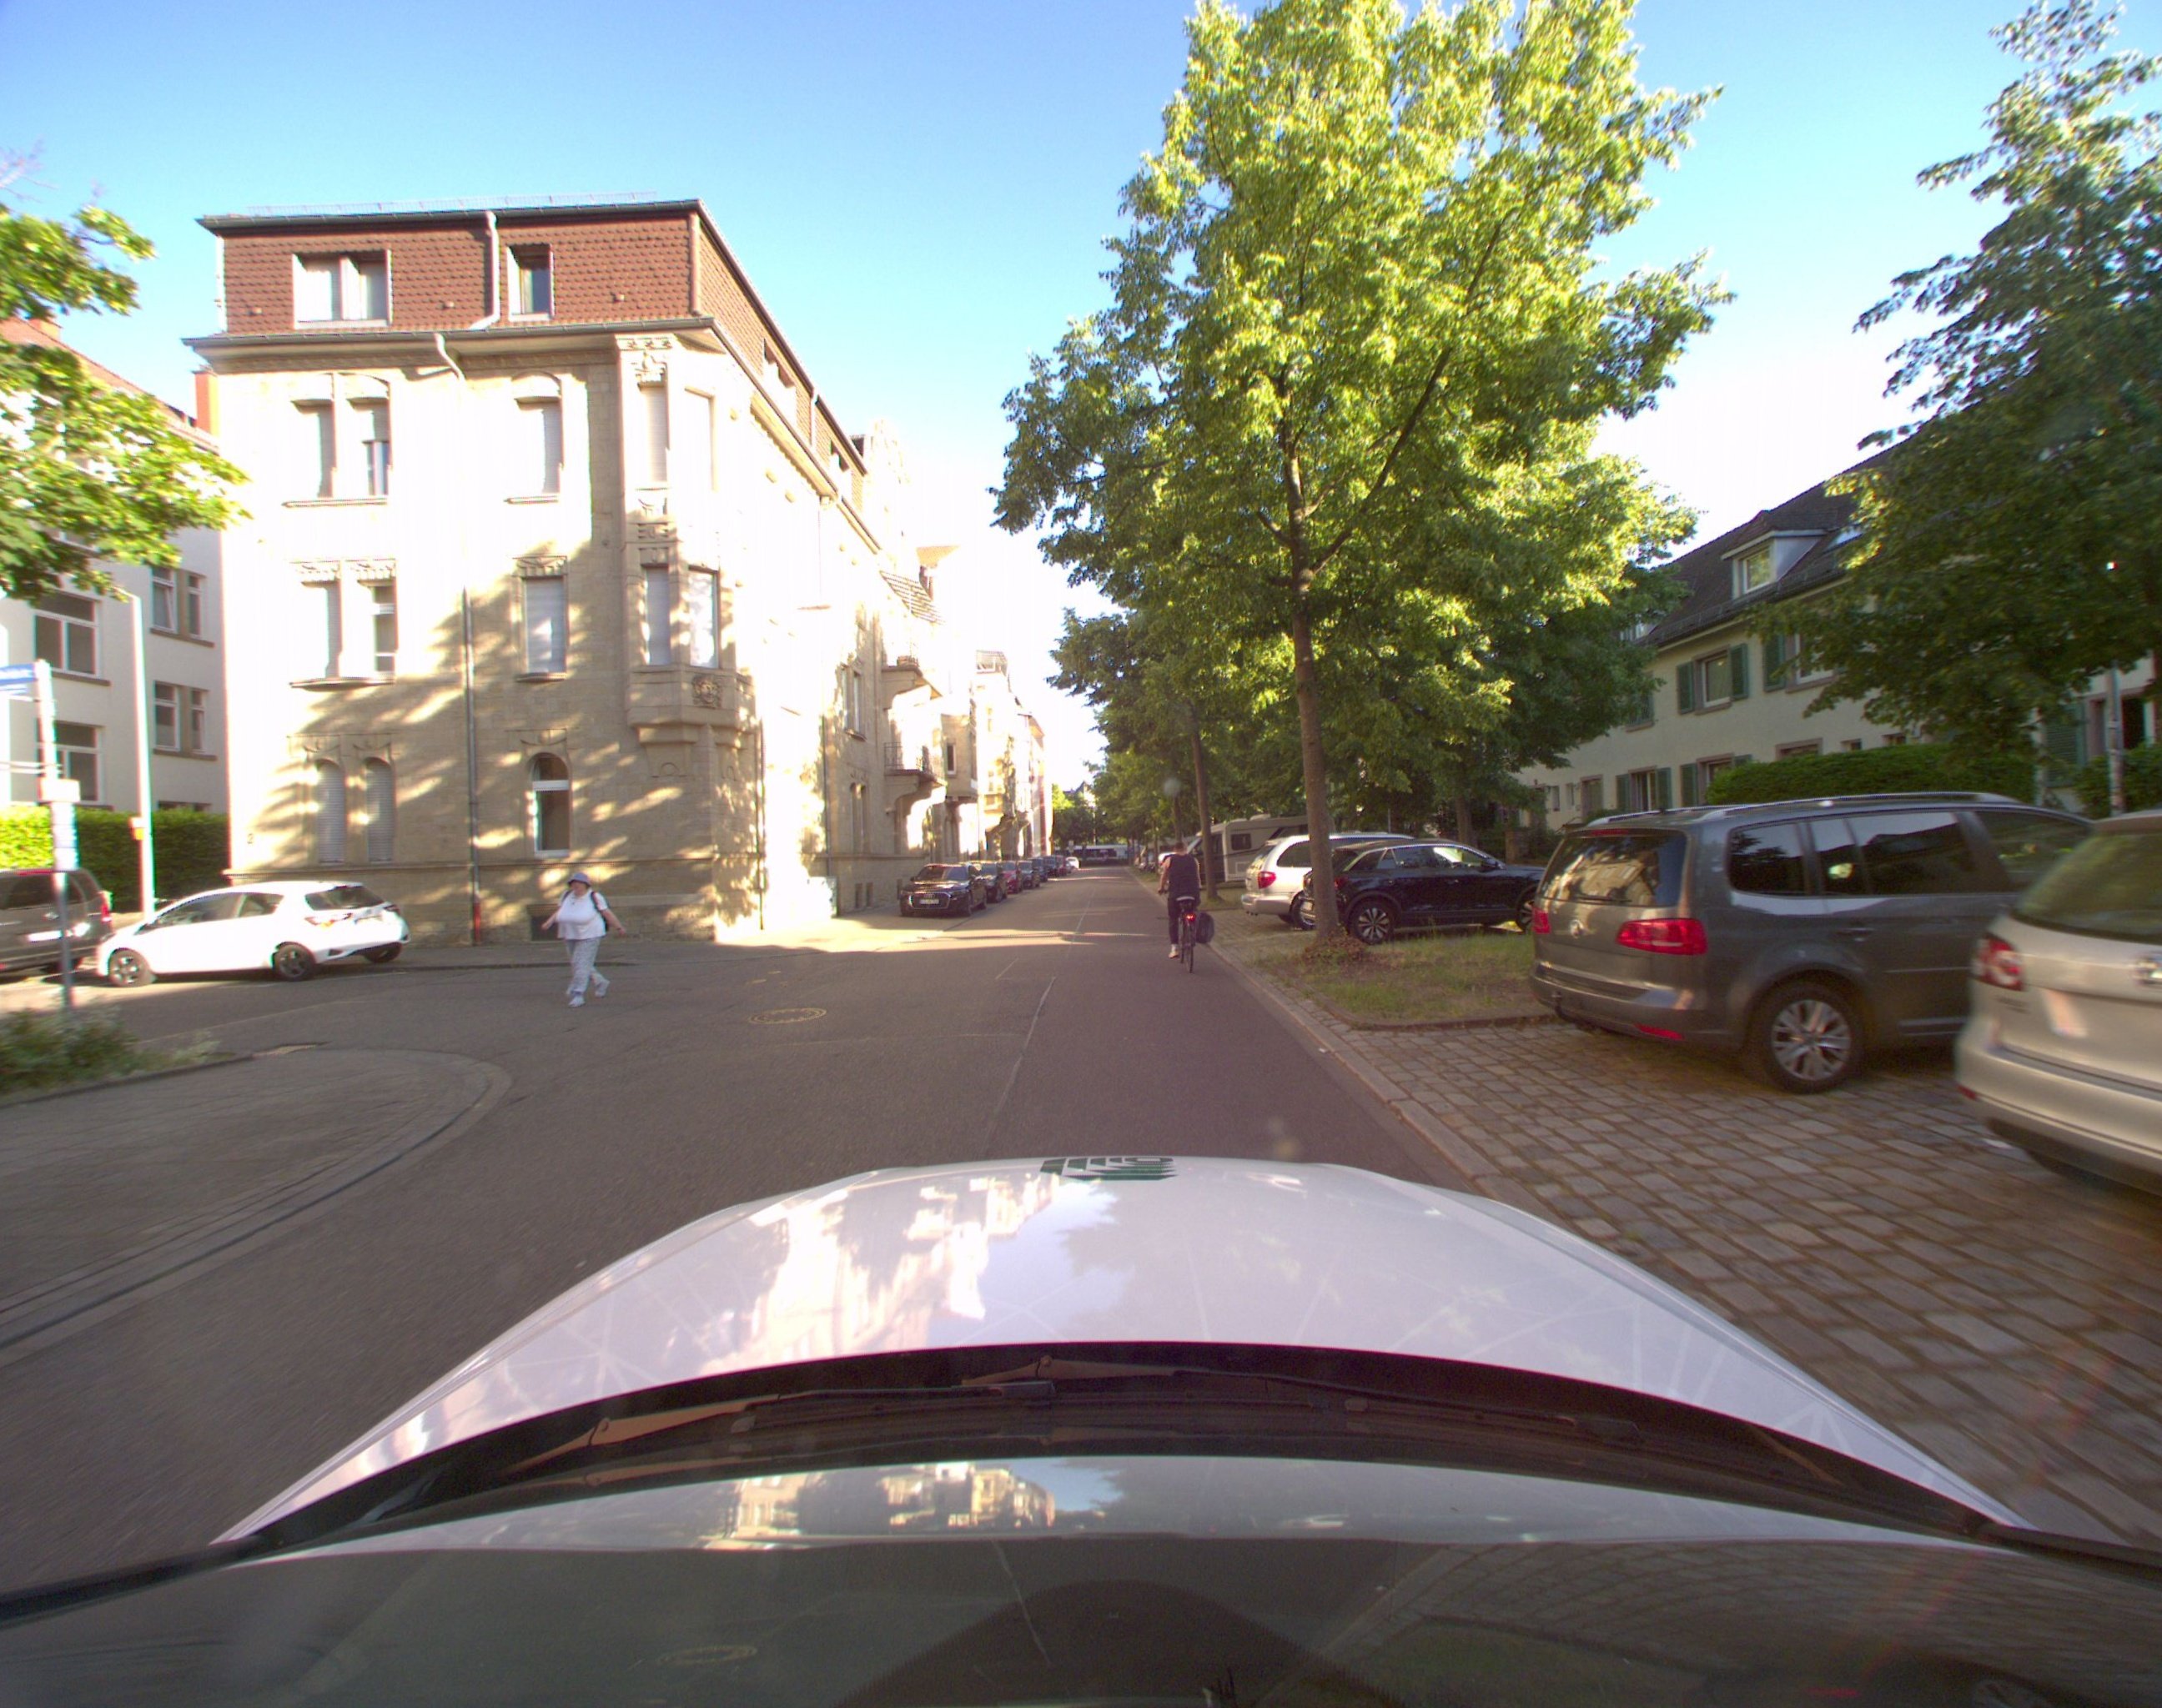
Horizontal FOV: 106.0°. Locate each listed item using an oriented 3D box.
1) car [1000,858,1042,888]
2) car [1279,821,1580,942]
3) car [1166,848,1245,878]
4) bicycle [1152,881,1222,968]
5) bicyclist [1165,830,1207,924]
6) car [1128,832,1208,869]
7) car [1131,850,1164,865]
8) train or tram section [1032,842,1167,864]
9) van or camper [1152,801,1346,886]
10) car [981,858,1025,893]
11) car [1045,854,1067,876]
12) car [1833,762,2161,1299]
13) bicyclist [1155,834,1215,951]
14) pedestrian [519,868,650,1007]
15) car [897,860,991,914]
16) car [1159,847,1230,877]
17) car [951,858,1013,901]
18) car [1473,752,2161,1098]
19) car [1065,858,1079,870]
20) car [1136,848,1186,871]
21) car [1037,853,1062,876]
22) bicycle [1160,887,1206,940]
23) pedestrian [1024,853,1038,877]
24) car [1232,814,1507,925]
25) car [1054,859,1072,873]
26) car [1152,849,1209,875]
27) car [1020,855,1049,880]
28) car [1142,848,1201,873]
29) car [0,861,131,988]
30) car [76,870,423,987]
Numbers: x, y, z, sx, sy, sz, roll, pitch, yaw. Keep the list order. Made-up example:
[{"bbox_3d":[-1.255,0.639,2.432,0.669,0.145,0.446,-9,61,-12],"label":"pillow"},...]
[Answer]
[{"bbox_3d":[-3.112,0.954,43.104,1.669,1.430,4.553,0,0,3],"label":"car"},{"bbox_3d":[5.460,0.411,13.150,4.052,1.476,1.695,-5,0,2],"label":"car"},{"bbox_3d":[6.744,0.501,44.445,4.022,1.454,1.689,-2,0,-2],"label":"car"},{"bbox_3d":[1.406,0.912,11.123,0.735,1.054,1.956,0,-1,1],"label":"bicycle"},{"bbox_3d":[1.884,0.406,14.714,0.686,1.626,1.000,0,0,5],"label":"bicyclist"},{"bbox_3d":[8.213,-0.321,77.306,7.126,2.978,2.463,-4,-1,-1],"label":"car"},{"bbox_3d":[8.111,0.478,99.547,3.975,1.803,1.833,-1,-1,-1],"label":"car"},{"bbox_3d":[3.454,-0.134,143.203,23.889,3.708,4.256,0,-1,-21],"label":"train or tram section"},{"bbox_3d":[6.520,-0.389,32.415,7.116,2.647,2.467,-5,0,3],"label":"van or camper"},{"bbox_3d":[-3.522,0.939,37.306,1.624,1.453,3.837,-1,0,0],"label":"car"},{"bbox_3d":[-2.190,0.960,72.200,1.682,1.825,4.275,0,0,3],"label":"car"},{"bbox_3d":[5.367,0.358,2.523,4.253,1.633,1.692,-5,0,5],"label":"car"},{"bbox_3d":[1.407,0.514,11.180,0.727,1.548,0.884,0,-1,1],"label":"bicyclist"},{"bbox_3d":[-6.191,1.000,10.218,0.884,1.577,1.054,-3,0,2],"label":"pedestrian"},{"bbox_3d":[-3.899,0.898,24.080,1.804,1.427,4.899,1,0,2],"label":"car"},{"bbox_3d":[6.919,0.497,49.946,4.205,1.600,1.692,-2,-2,3],"label":"car"},{"bbox_3d":[-3.573,0.909,30.068,1.690,1.453,4.027,-2,-1,1],"label":"car"},{"bbox_3d":[5.369,0.313,5.496,4.530,1.633,1.809,-5,0,-4],"label":"car"},{"bbox_3d":[-1.107,1.177,100.808,1.577,1.375,4.134,0,0,3],"label":"car"},{"bbox_3d":[6.866,0.454,69.990,4.070,1.650,1.641,-5,-1,0],"label":"car"},{"bbox_3d":[-2.466,0.798,65.225,1.634,1.783,4.357,0,0,3],"label":"car"},{"bbox_3d":[1.816,1.044,14.663,0.631,0.799,1.833,-2,0,2],"label":"bicycle"},{"bbox_3d":[-3.669,0.805,60.243,0.934,1.742,0.735,-1,-1,2],"label":"pedestrian"},{"bbox_3d":[5.401,0.293,15.723,4.600,1.709,1.835,-4,0,3],"label":"car"},{"bbox_3d":[-1.845,1.251,83.446,1.577,1.343,4.134,0,0,3],"label":"car"},{"bbox_3d":[6.877,0.570,56.606,3.757,1.600,1.692,-2,-2,3],"label":"car"},{"bbox_3d":[-2.961,0.836,52.376,1.590,1.489,2.737,2,0,0],"label":"car"},{"bbox_3d":[6.531,0.476,58.926,4.121,1.600,1.704,-2,-2,3],"label":"car"},{"bbox_3d":[-19.087,1.188,13.312,4.698,1.866,1.867,-2,3,-1],"label":"car"},{"bbox_3d":[-13.471,1.160,13.384,3.784,1.550,1.719,-2,3,-1],"label":"car"}]
